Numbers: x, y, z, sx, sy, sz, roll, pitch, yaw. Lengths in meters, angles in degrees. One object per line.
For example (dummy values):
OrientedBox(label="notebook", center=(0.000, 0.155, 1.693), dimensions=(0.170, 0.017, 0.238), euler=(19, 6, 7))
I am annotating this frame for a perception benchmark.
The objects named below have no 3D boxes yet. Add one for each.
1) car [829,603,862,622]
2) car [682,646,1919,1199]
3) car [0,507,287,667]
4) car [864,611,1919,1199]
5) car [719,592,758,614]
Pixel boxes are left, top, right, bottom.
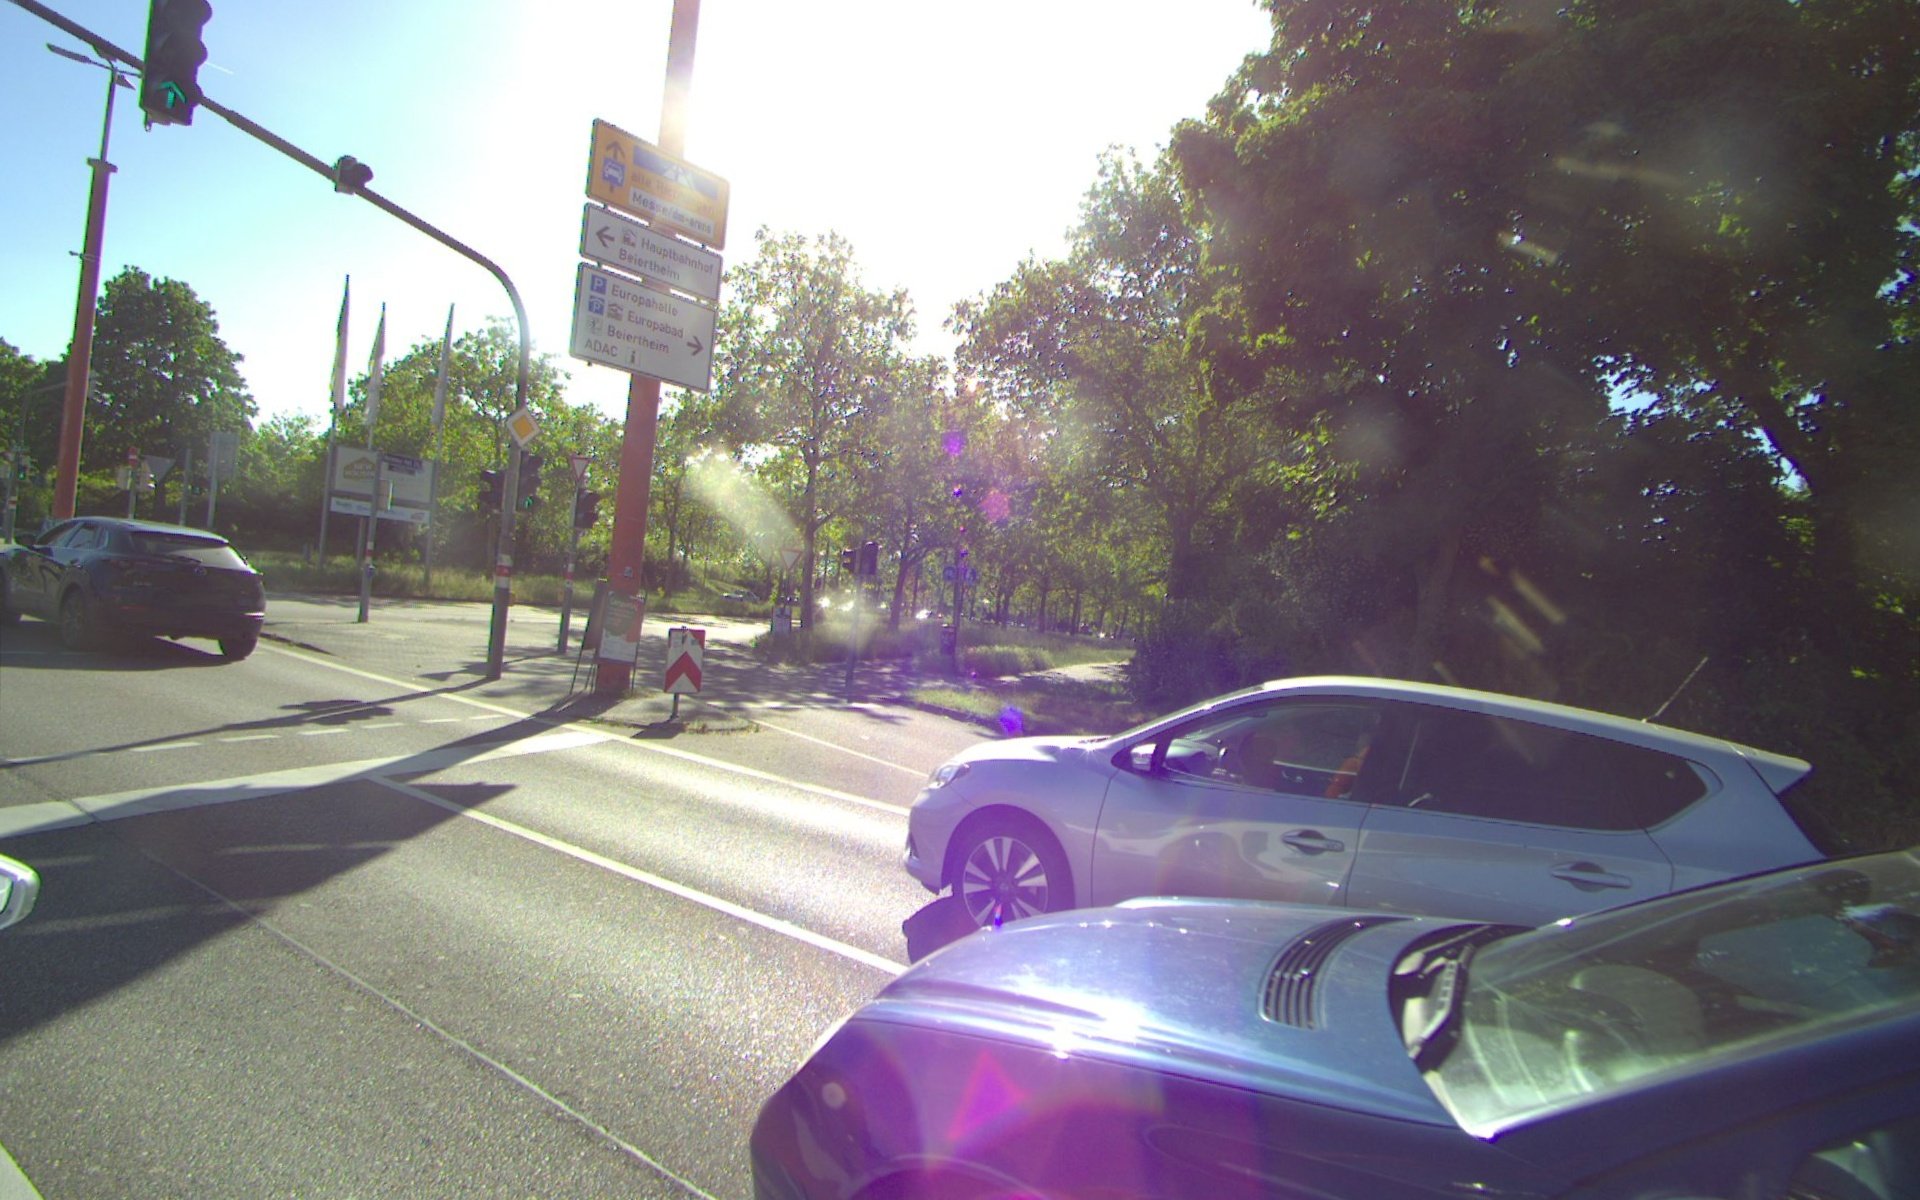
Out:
OrientedBox(label="car", center=(-11.587, 1.288, 102.274), dimensions=(1.740, 1.525, 4.231), euler=(6, -2, 15))
OrientedBox(label="car", center=(1.656, 1.048, 1.465), dimensions=(3.983, 1.437, 1.721), euler=(6, -1, 32))
OrientedBox(label="car", center=(-10.505, -0.201, 12.652), dimensions=(4.157, 1.525, 1.771), euler=(6, -2, 33))
OrientedBox(label="car", center=(1.756, 1.095, 4.785), dimensions=(4.069, 1.535, 1.725), euler=(6, -2, 32))
OrientedBox(label="car", center=(-20.006, 0.257, 91.119), dimensions=(1.831, 1.534, 4.143), euler=(7, -2, 10))
